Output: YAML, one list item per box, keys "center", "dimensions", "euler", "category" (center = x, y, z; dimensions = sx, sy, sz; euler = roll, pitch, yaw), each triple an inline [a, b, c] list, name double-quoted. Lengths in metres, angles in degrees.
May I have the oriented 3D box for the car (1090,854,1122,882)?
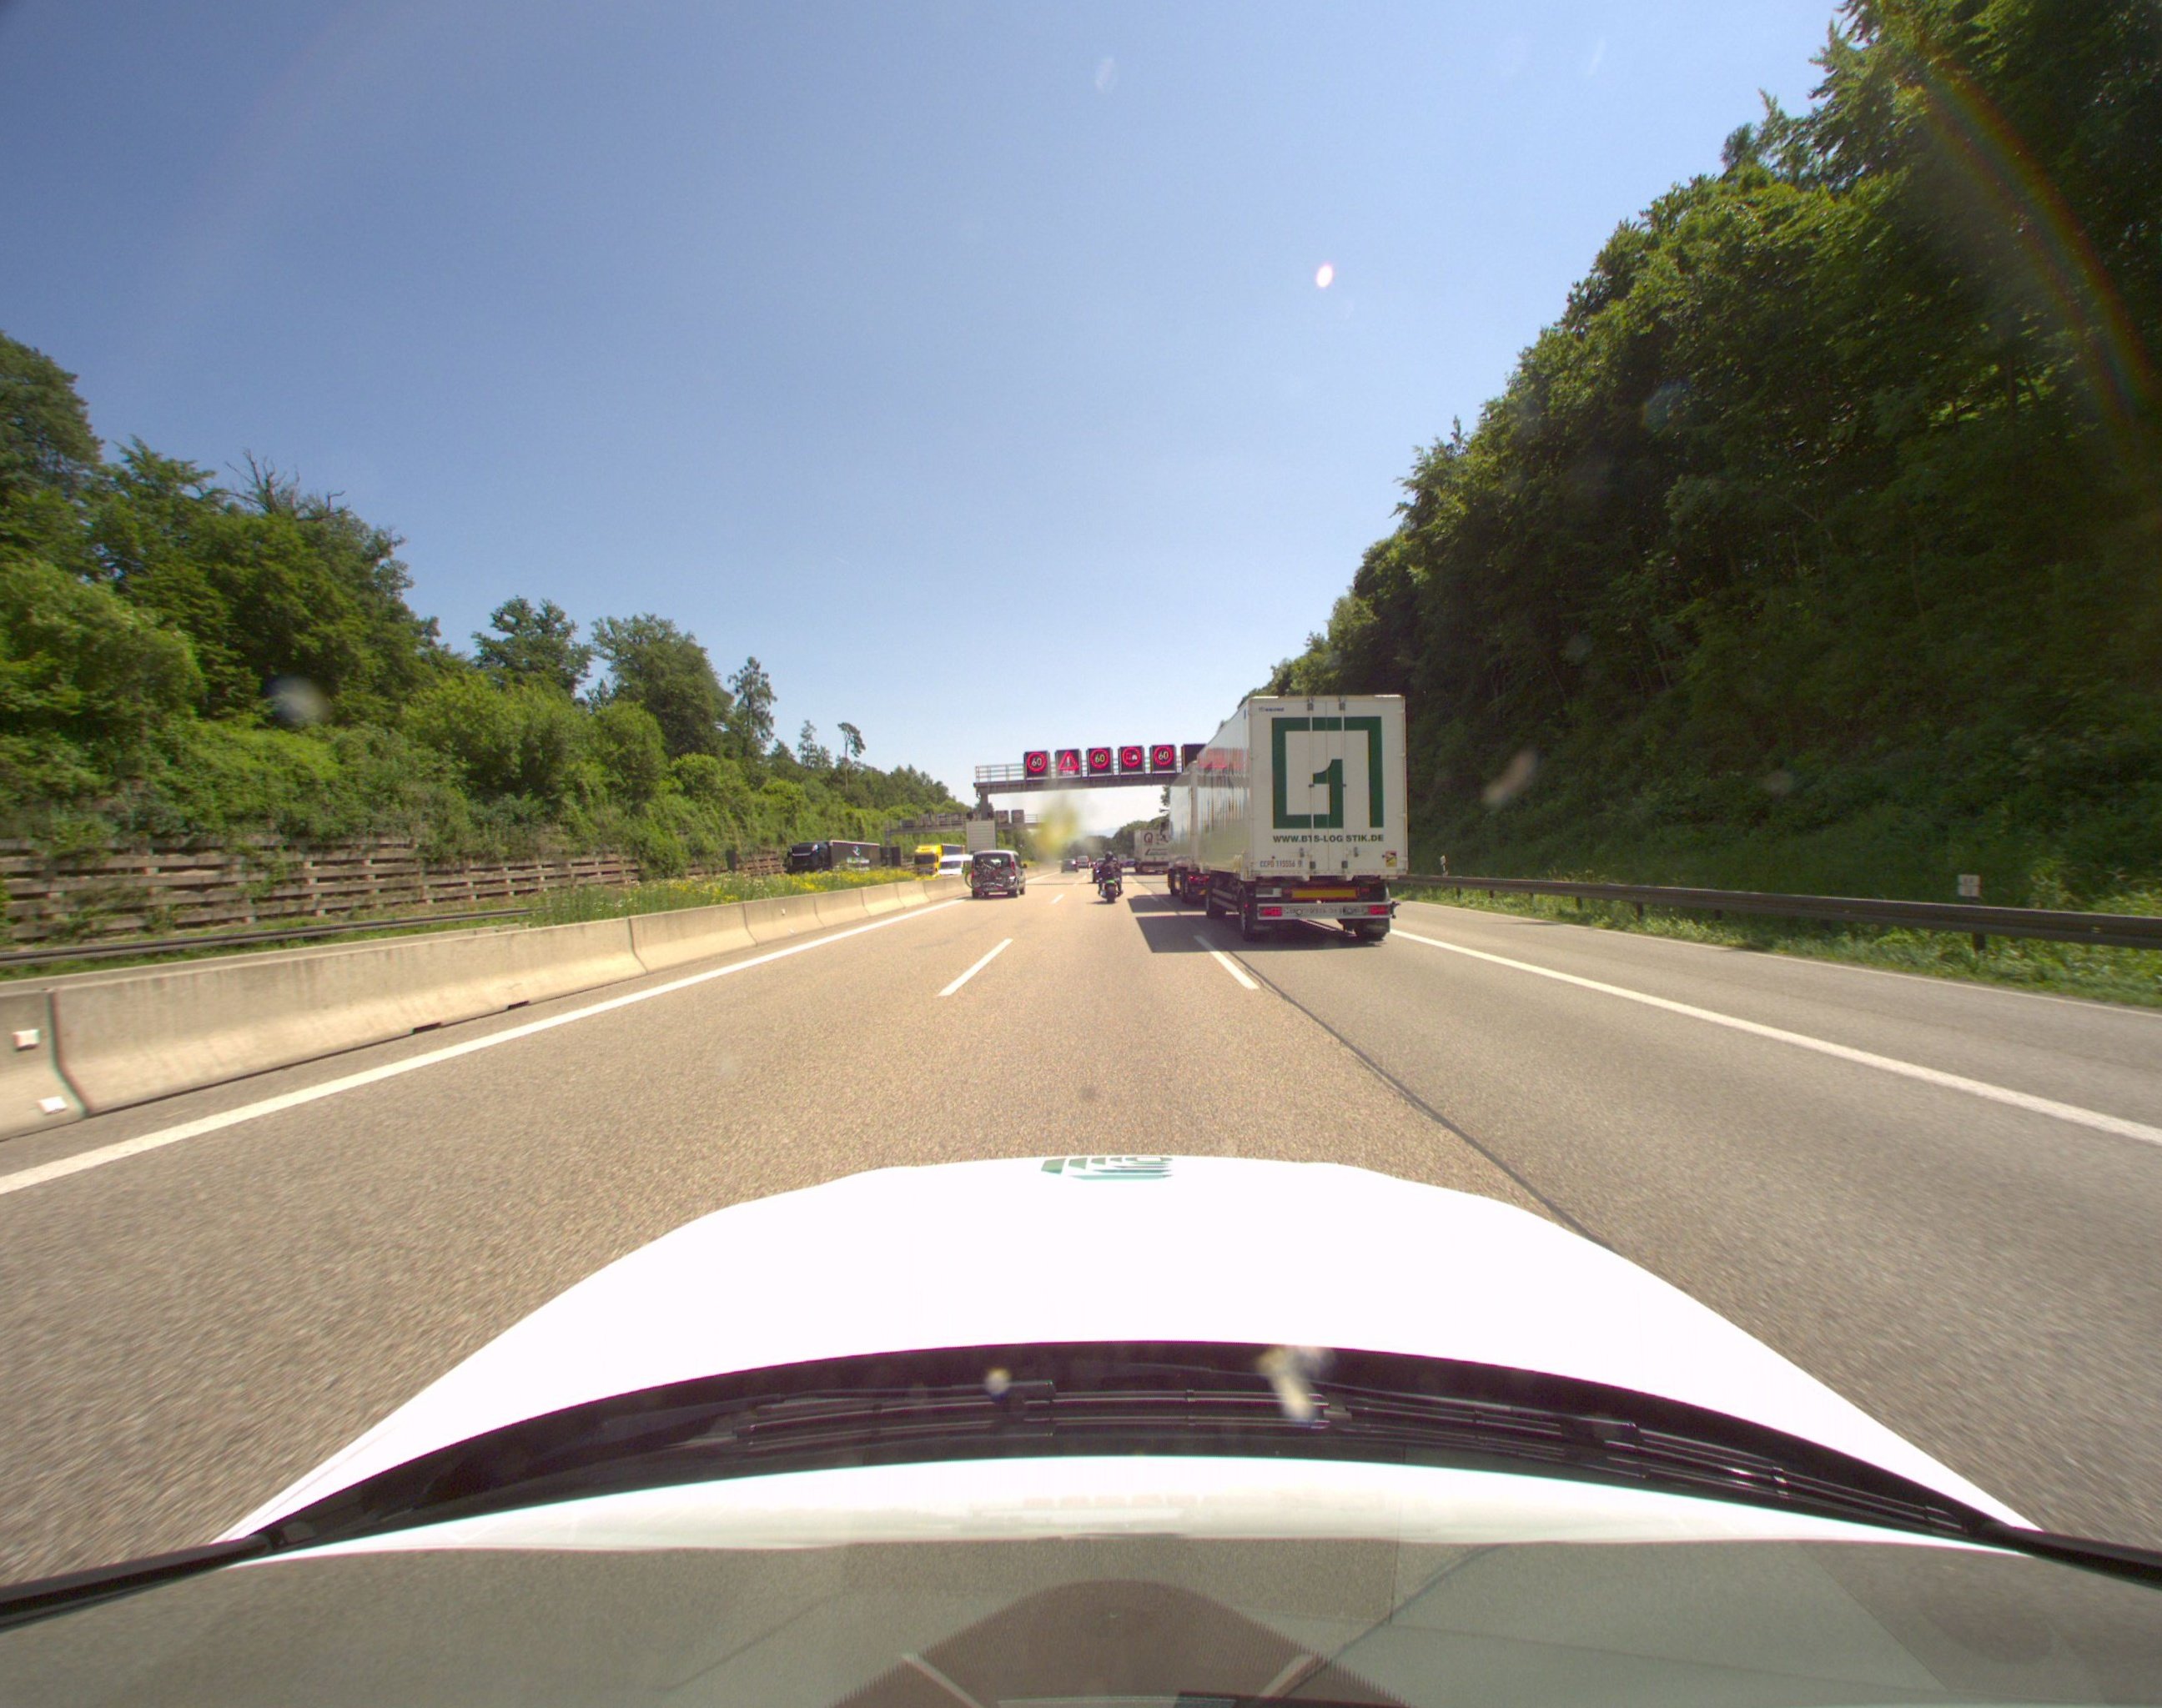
- center: [1.531, 0.807, 49.447]
  dimensions: [1.839, 1.557, 4.441]
  euler: [-1, 0, 1]
  category: "car"

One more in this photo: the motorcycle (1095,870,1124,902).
- center: [0.938, 1.020, 26.410]
  dimensions: [0.859, 0.982, 2.132]
  euler: [-1, -1, 3]
  category: "motorcycle"

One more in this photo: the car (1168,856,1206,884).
- center: [6.367, 0.953, 49.525]
  dimensions: [1.839, 1.557, 4.393]
  euler: [-1, 0, 1]
  category: "car"

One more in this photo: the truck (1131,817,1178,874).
- center: [6.644, -0.697, 76.318]
  dimensions: [3.370, 4.718, 17.715]
  euler: [0, 0, 2]
  category: "truck"

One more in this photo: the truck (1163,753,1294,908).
- center: [4.420, -0.596, 26.819]
  dimensions: [2.670, 4.059, 10.630]
  euler: [-1, 0, 2]
  category: "truck"

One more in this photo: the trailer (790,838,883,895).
- center: [-20.177, 0.968, 68.541]
  dimensions: [2.967, 4.101, 13.999]
  euler: [-4, 0, 2]
  category: "trailer"

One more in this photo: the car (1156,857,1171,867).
- center: [12.154, 1.161, 120.111]
  dimensions: [1.824, 1.527, 4.028]
  euler: [-1, 0, 1]
  category: "car"

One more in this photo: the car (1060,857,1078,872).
- center: [-1.316, 1.095, 88.035]
  dimensions: [1.751, 1.544, 4.396]
  euler: [-1, 0, 1]
  category: "car"

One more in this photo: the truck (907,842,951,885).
- center: [-16.166, 0.956, 87.043]
  dimensions: [2.940, 4.202, 6.460]
  euler: [-4, 0, 2]
  category: "truck"

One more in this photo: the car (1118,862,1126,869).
- center: [10.407, 2.877, 207.011]
  dimensions: [1.824, 1.527, 4.028]
  euler: [-1, 0, 1]
  category: "car"

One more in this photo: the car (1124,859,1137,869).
- center: [7.580, 1.534, 124.438]
  dimensions: [1.824, 1.527, 4.028]
  euler: [-1, 0, 1]
  category: "car"

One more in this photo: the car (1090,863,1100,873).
- center: [2.837, 2.777, 161.555]
  dimensions: [1.824, 1.810, 4.121]
  euler: [-1, 0, 1]
  category: "car"

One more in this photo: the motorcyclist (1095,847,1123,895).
- center: [0.925, 0.536, 26.465]
  dimensions: [0.852, 1.515, 0.914]
  euler: [-1, -1, 2]
  category: "motorcyclist"

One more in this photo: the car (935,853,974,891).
- center: [-9.504, 1.299, 61.585]
  dimensions: [1.991, 2.673, 4.847]
  euler: [-3, 0, 1]
  category: "car"

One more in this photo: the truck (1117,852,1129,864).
- center: [11.948, 1.018, 232.293]
  dimensions: [3.056, 3.346, 9.655]
  euler: [0, 0, 2]
  category: "truck"

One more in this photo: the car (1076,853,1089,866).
- center: [0.252, 0.754, 120.367]
  dimensions: [1.824, 1.810, 4.121]
  euler: [-1, 0, 1]
  category: "car"

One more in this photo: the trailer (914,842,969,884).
- center: [-15.833, 0.981, 93.904]
  dimensions: [2.966, 4.207, 14.474]
  euler: [-4, 0, 3]
  category: "trailer"

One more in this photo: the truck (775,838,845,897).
- center: [-20.375, 0.973, 61.621]
  dimensions: [2.923, 4.059, 5.870]
  euler: [-4, 0, 2]
  category: "truck"

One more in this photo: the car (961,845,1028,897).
- center: [-3.307, 0.644, 32.284]
  dimensions: [1.891, 1.848, 5.484]
  euler: [-1, -1, 1]
  category: "car"

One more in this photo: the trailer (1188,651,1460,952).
- center: [4.070, -0.720, 16.455]
  dimensions: [2.670, 4.176, 10.068]
  euler: [-1, 0, 2]
  category: "trailer"

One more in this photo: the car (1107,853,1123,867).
- center: [3.937, 0.720, 95.562]
  dimensions: [1.824, 1.558, 4.121]
  euler: [-1, 0, 1]
  category: "car"
